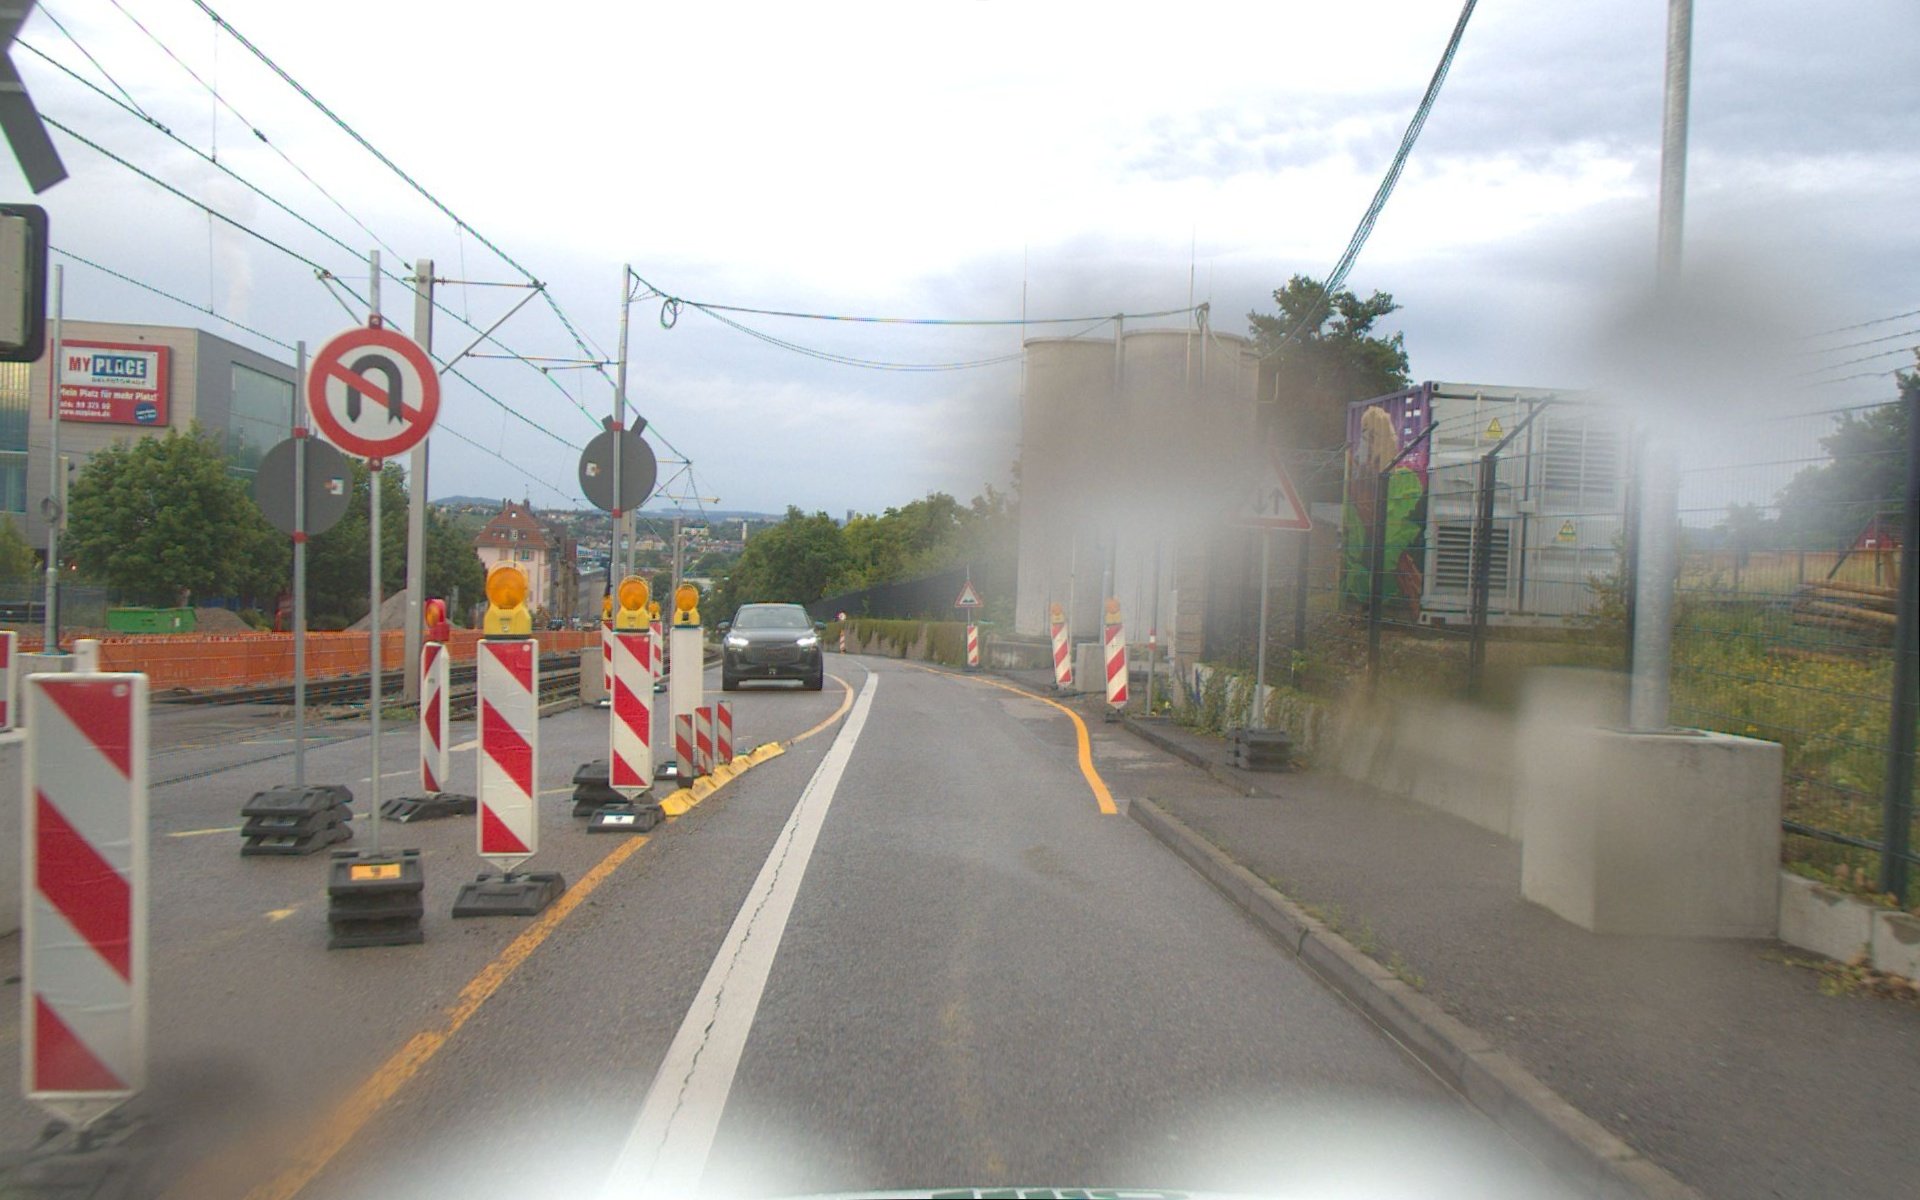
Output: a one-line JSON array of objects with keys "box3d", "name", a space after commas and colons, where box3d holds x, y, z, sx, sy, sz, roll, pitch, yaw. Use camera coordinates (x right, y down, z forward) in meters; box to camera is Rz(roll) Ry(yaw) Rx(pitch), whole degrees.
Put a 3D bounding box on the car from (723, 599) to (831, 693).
[{"box3d": [-3.676, 0.865, 32.923, 1.956, 1.707, 4.481, 1, 0, -8], "name": "car"}]
